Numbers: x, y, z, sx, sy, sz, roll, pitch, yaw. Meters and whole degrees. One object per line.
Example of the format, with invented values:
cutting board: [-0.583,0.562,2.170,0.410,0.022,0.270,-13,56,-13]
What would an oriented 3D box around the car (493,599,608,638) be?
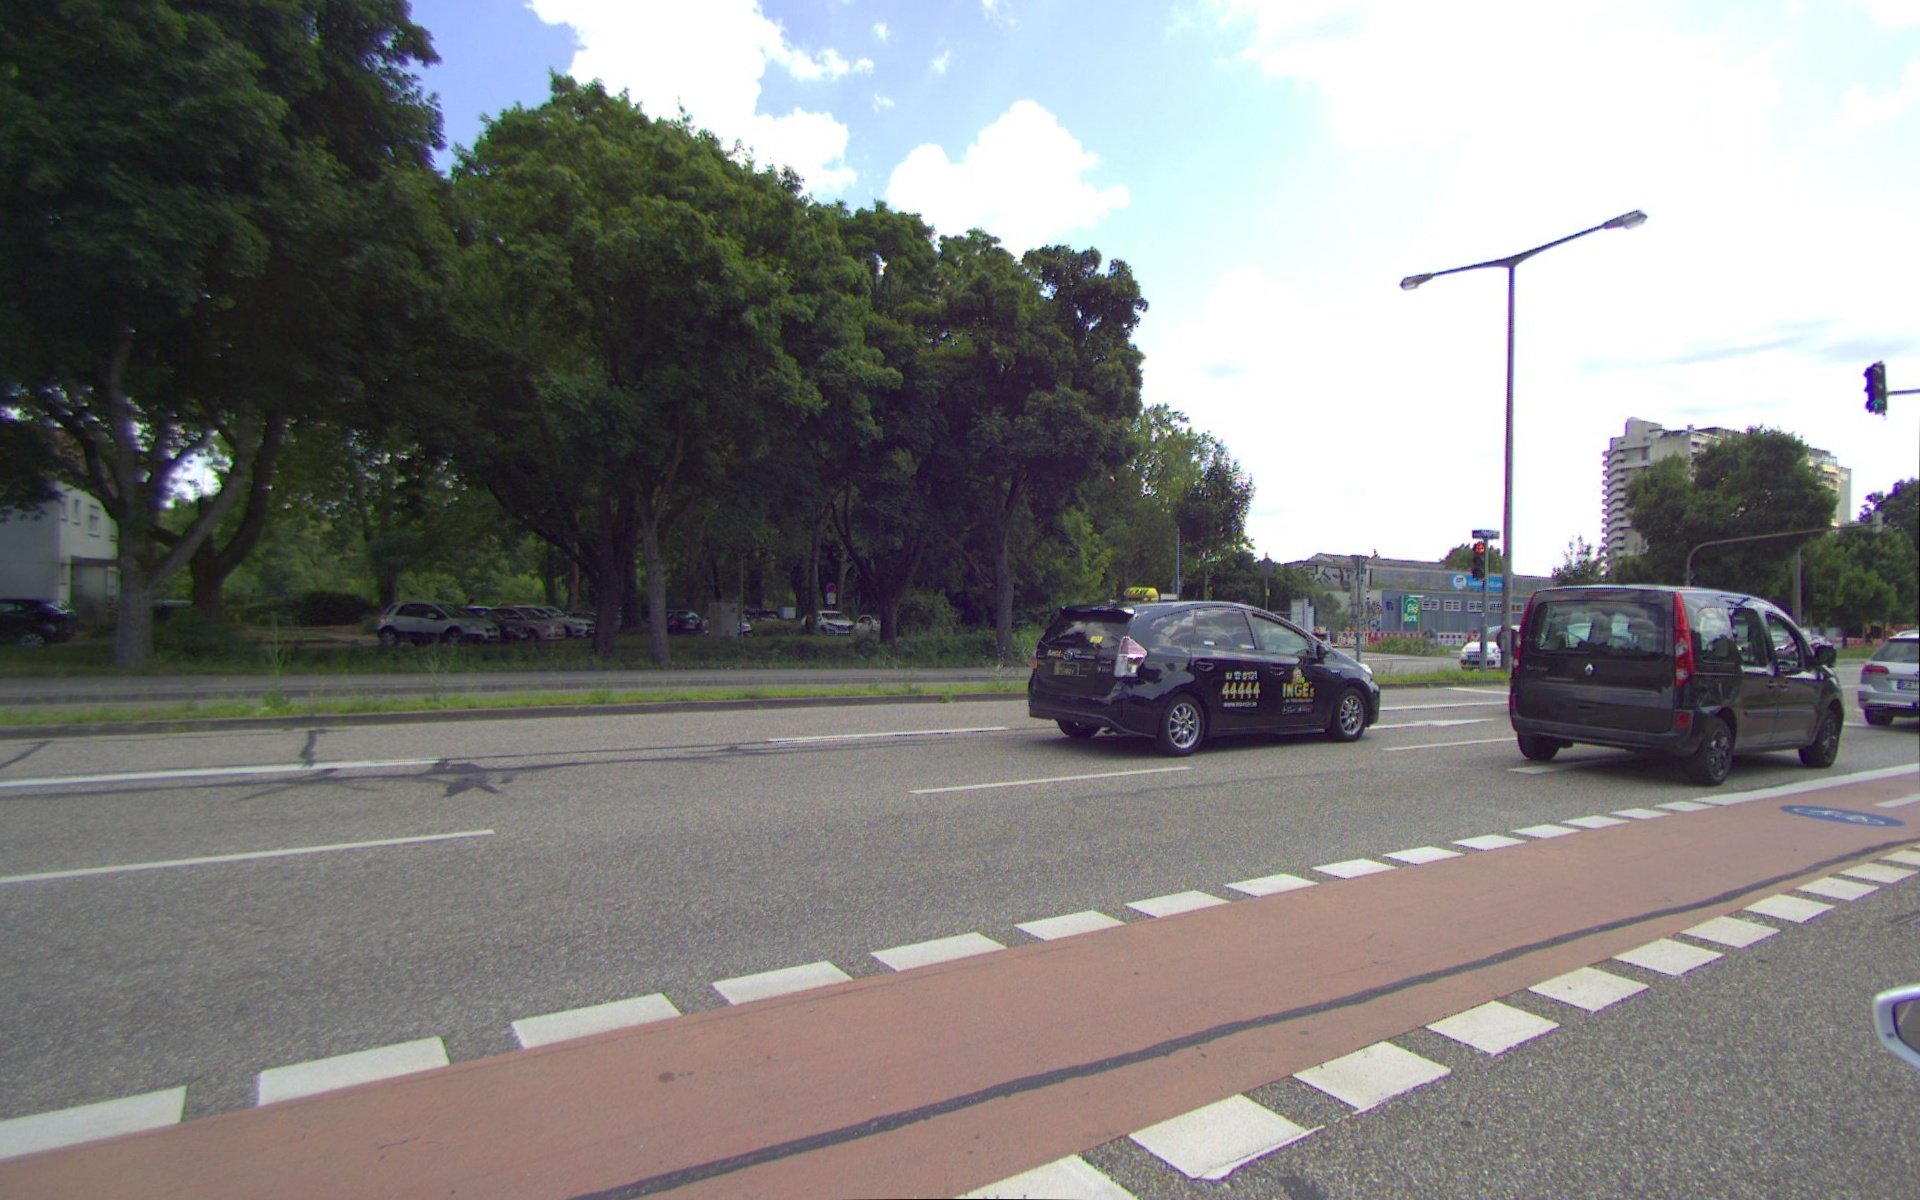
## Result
car: [-17.072,0.774,41.960,3.941,1.565,2.001,1,-1,6]

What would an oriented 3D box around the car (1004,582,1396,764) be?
car: [2.765,0.729,11.260,4.293,1.690,1.775,2,0,-33]

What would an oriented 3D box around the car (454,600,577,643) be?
car: [-17.437,0.854,39.477,3.942,1.608,2.001,-1,-1,6]

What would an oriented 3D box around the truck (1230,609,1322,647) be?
truck: [21.655,1.911,69.257,2.987,2.472,6.970,1,-1,-12]

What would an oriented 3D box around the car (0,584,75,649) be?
car: [-26.254,0.412,26.496,4.331,1.679,1.790,2,0,-42]

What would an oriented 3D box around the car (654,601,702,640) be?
car: [-13.736,0.989,48.725,1.793,1.750,4.106,1,-1,-22]

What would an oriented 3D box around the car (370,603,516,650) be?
car: [-17.652,0.893,34.411,3.941,1.503,2.001,1,-1,6]

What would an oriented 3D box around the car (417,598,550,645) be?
car: [-17.511,0.792,37.044,3.941,1.608,2.001,1,-1,6]

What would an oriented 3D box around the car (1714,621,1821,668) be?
car: [29.829,1.626,37.093,3.958,1.639,1.982,1,-1,-33]

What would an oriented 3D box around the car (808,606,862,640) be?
car: [-6.700,1.223,53.564,2.044,1.748,4.111,1,-1,-19]

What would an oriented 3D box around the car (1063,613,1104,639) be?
car: [9.111,1.914,74.215,1.904,1.817,3.611,2,0,-13]

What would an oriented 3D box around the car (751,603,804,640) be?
car: [-9.366,1.101,51.272,2.014,1.748,4.559,1,-1,-19]

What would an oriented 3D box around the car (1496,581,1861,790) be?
car: [7.520,0.779,10.441,3.866,1.801,1.750,2,0,-32]

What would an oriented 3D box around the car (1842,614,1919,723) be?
car: [15.546,1.047,15.464,4.253,1.545,1.776,2,0,-32]

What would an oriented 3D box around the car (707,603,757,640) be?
car: [-11.493,1.065,50.423,1.793,1.732,4.106,1,-1,-22]
